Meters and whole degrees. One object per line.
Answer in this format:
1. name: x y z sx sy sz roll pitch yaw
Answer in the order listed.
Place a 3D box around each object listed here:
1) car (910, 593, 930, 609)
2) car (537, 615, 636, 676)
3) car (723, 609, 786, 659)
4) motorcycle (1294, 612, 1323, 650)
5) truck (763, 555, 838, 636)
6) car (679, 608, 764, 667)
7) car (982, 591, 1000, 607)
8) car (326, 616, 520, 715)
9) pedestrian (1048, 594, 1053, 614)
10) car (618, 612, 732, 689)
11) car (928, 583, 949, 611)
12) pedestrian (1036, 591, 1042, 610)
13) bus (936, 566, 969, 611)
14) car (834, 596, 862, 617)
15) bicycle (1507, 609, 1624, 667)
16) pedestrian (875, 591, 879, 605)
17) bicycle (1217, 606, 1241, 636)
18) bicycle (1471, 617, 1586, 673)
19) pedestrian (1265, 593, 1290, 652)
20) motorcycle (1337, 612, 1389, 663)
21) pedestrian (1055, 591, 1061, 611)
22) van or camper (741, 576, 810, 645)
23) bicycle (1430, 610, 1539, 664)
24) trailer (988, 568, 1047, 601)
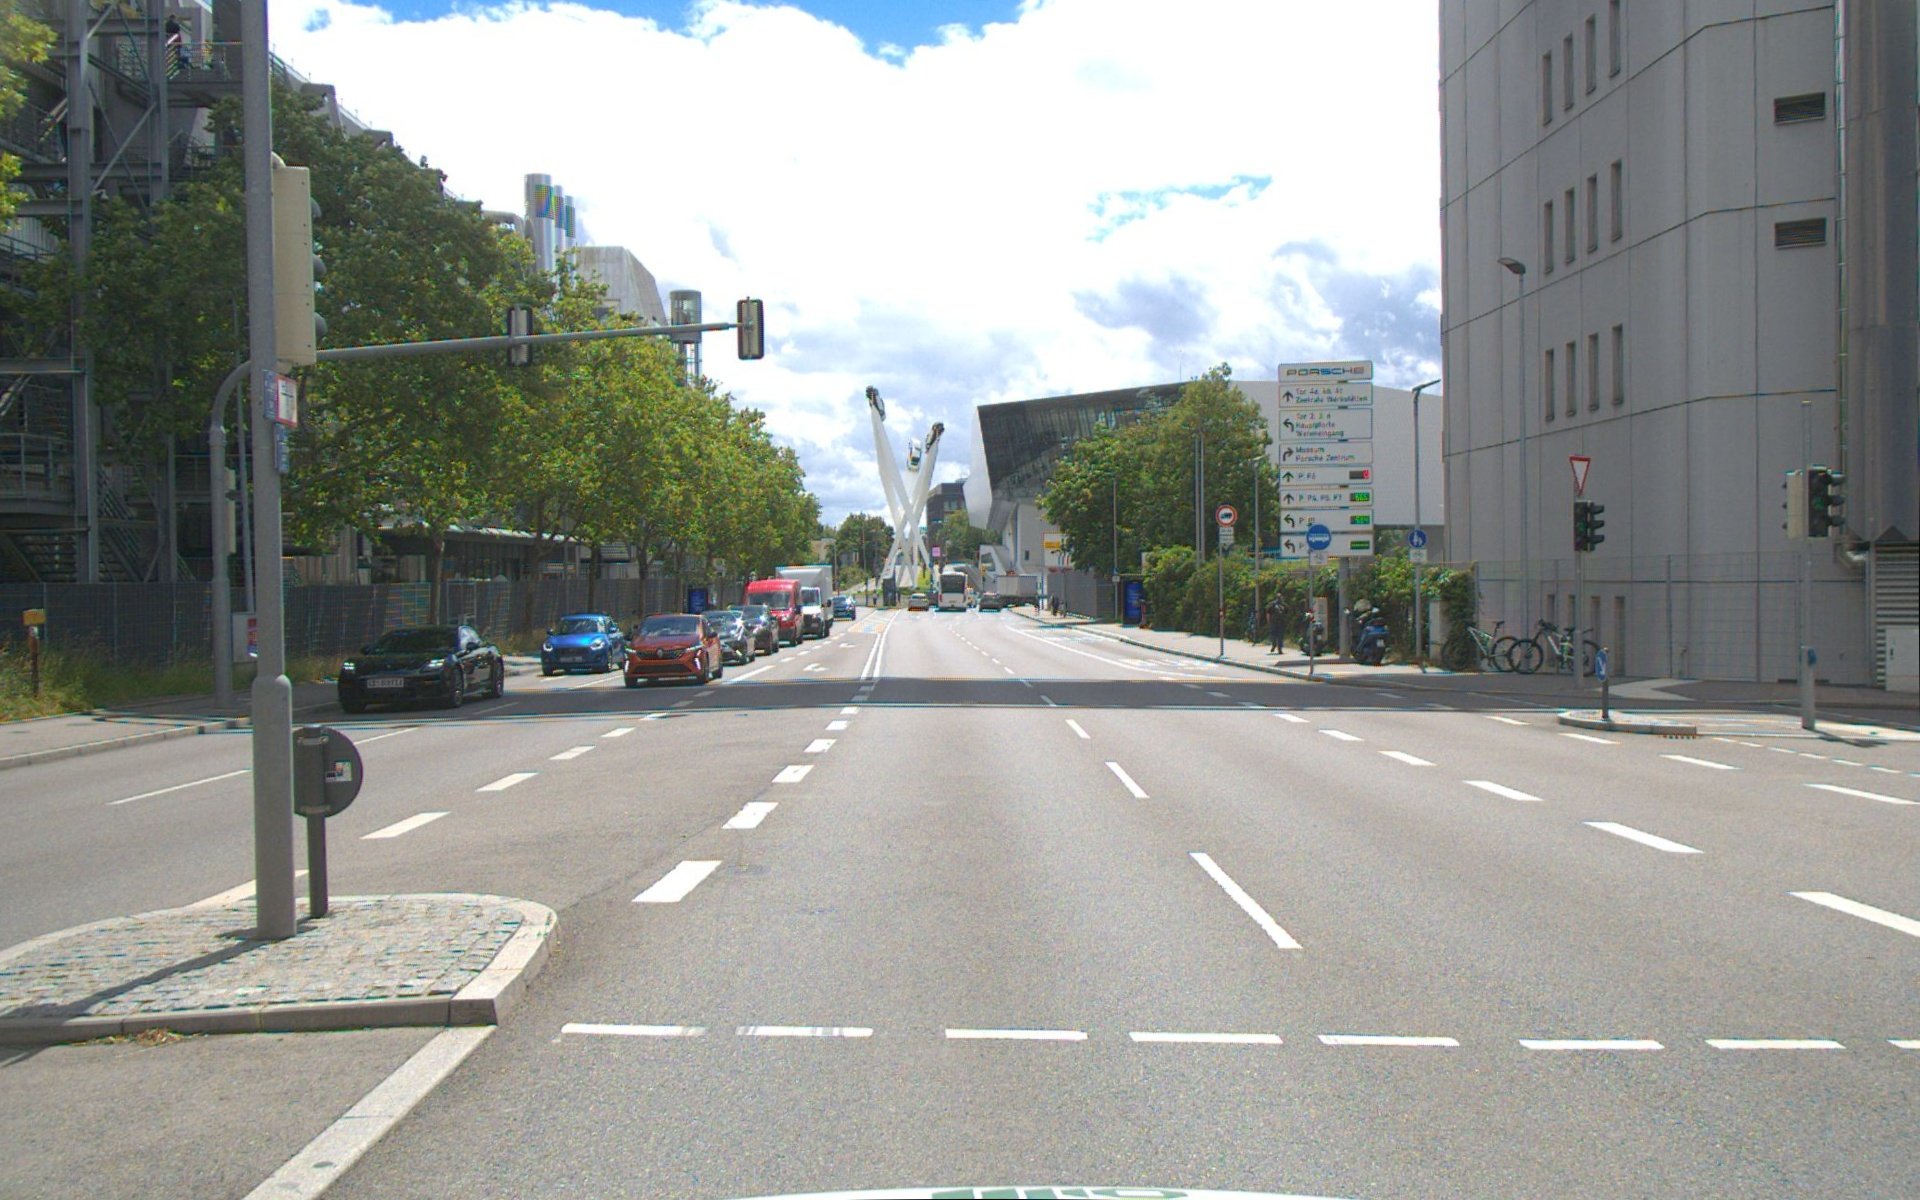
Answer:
1. car: -3.474 0.112 143.664 1.525 1.295 3.701 -2 0 1
2. car: -9.707 1.151 43.207 1.692 1.406 3.701 -2 0 0
3. car: -6.623 1.060 53.560 1.525 1.473 3.772 -2 0 0
4. motorcycle: 9.800 0.879 46.533 0.448 1.040 1.913 1 -1 1
5. truck: -6.932 -0.141 72.681 2.538 3.382 7.078 1 -1 0
6. car: -6.505 0.999 45.464 1.733 1.445 3.701 -2 0 0
7. car: 2.682 -0.113 142.702 1.525 1.295 3.701 -2 0 1
8. car: -9.505 1.110 29.716 1.878 1.514 4.771 -2 0 0
9. pedestrian: 6.792 0.305 124.076 0.378 1.446 0.423 1 -1 0
10. car: -5.971 1.020 35.049 1.733 1.445 3.701 -2 0 0
11. car: -2.118 -0.294 164.165 1.805 2.670 4.001 1 -1 3
12. pedestrian: 5.923 0.053 123.912 0.378 1.446 0.423 1 -1 0
13. bus: -0.662 -1.001 145.323 2.730 3.750 6.942 1 -1 0
14. car: -7.524 0.435 111.324 1.525 1.295 3.701 -2 0 0
15. bicycle: 12.119 0.752 33.127 2.149 1.106 0.475 0 -1 35
16. pedestrian: -8.772 -0.242 174.110 0.378 1.446 0.423 1 -1 -5
17. bicycle: 9.724 0.759 59.794 0.410 1.040 1.910 1 -1 -5
18. bicycle: 11.705 0.915 34.093 2.180 1.106 0.475 0 -1 35
19. pedestrian: 9.064 0.638 47.220 0.523 1.669 0.657 1 -1 -6
20. motorcycle: 9.612 0.893 39.546 0.410 1.186 1.951 1 -1 -11
21. pedestrian: 7.114 0.103 119.788 0.378 1.446 0.423 1 -1 0
22. van or camper: -6.978 0.379 63.108 2.005 2.510 5.594 0 0 0
23. bicycle: 11.219 0.786 35.419 2.180 1.106 0.475 0 -1 35
24. trailer: 6.029 -1.564 170.322 3.250 3.047 10.380 1 -1 18
